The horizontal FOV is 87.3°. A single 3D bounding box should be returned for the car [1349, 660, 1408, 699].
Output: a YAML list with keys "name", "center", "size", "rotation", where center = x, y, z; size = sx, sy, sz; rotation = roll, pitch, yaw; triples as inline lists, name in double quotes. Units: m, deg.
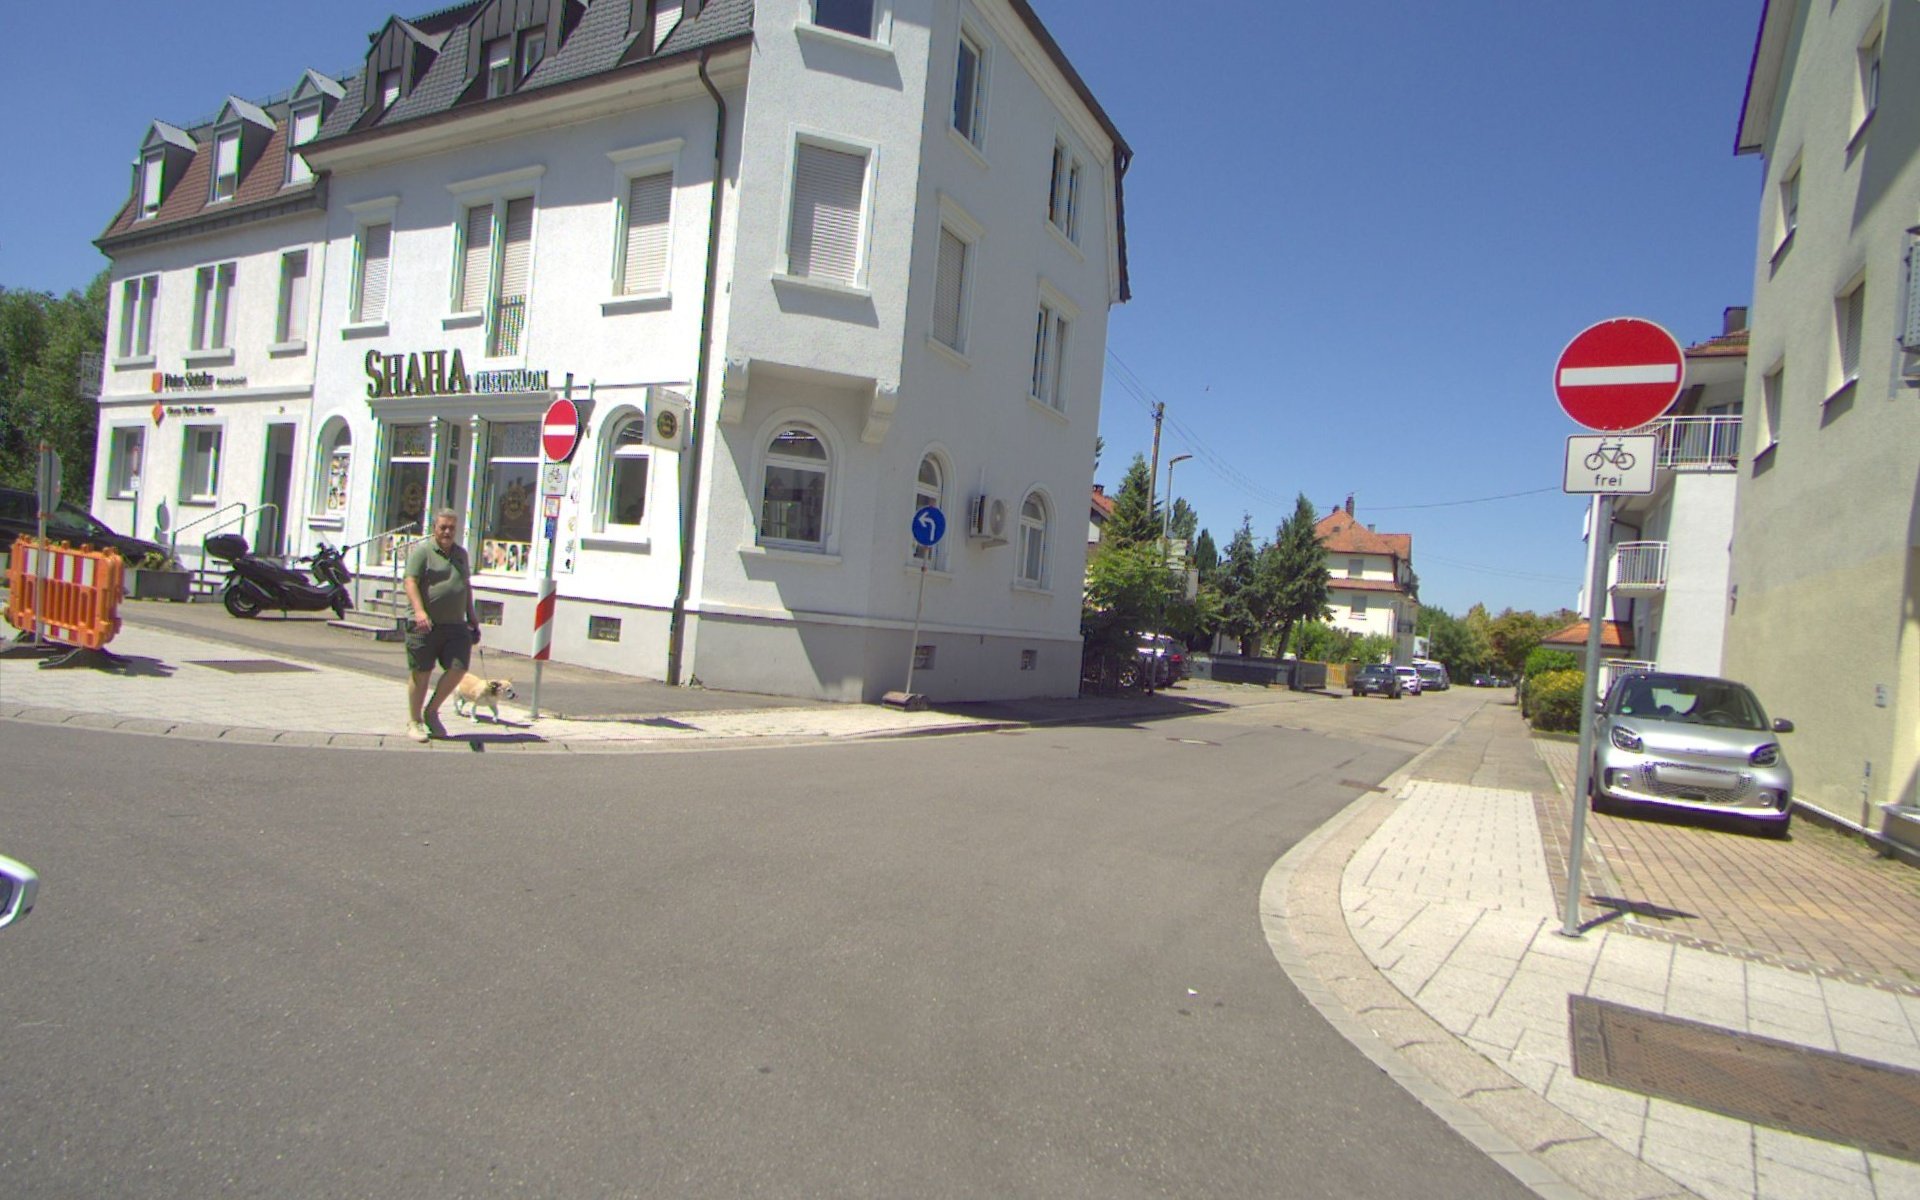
- name: "car"
  center: [20.430, 3.870, 49.041]
  size: [1.967, 1.637, 3.993]
  rotation: [6, -1, 31]

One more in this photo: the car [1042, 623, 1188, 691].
- name: "car"
  center: [4.836, 1.794, 31.581]
  size: [3.936, 1.660, 1.995]
  rotation: [5, -1, 34]

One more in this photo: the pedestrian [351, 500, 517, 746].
- name: "pedestrian"
  center: [-4.202, 0.177, 8.043]
  size: [0.831, 1.819, 0.745]
  rotation: [7, 1, 38]

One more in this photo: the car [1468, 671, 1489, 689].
- name: "car"
  center: [65.338, 10.106, 126.818]
  size: [1.967, 2.038, 3.992]
  rotation: [6, -1, 31]

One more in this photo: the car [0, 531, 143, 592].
- name: "car"
  center: [-25.857, -1.083, 28.642]
  size: [1.826, 1.366, 4.204]
  rotation: [4, -2, -3]

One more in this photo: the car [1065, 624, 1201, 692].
- name: "car"
  center: [5.863, 1.959, 34.114]
  size: [3.936, 1.860, 1.995]
  rotation: [5, -1, 34]

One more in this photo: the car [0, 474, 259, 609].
- name: "car"
  center: [-14.506, -0.949, 16.824]
  size: [1.824, 1.735, 4.085]
  rotation: [5, -3, 29]

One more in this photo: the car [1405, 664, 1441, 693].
- name: "car"
  center: [36.419, 6.182, 79.098]
  size: [1.967, 2.038, 3.992]
  rotation: [6, -1, 32]

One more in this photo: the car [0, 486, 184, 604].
- name: "car"
  center: [-16.509, -1.043, 17.651]
  size: [1.824, 1.735, 4.085]
  rotation: [5, -3, 29]

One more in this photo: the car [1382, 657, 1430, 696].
- name: "car"
  center: [27.012, 4.650, 60.835]
  size: [1.967, 2.038, 3.992]
  rotation: [6, -1, 32]

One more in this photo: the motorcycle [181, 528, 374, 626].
- name: "motorcycle"
  center: [-10.983, -0.337, 16.309]
  size: [0.841, 1.290, 2.381]
  rotation: [6, -2, 30]

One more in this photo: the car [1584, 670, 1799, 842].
- name: "car"
  center: [7.977, 1.629, 11.195]
  size: [1.505, 1.488, 2.733]
  rotation: [5, -2, 30]
